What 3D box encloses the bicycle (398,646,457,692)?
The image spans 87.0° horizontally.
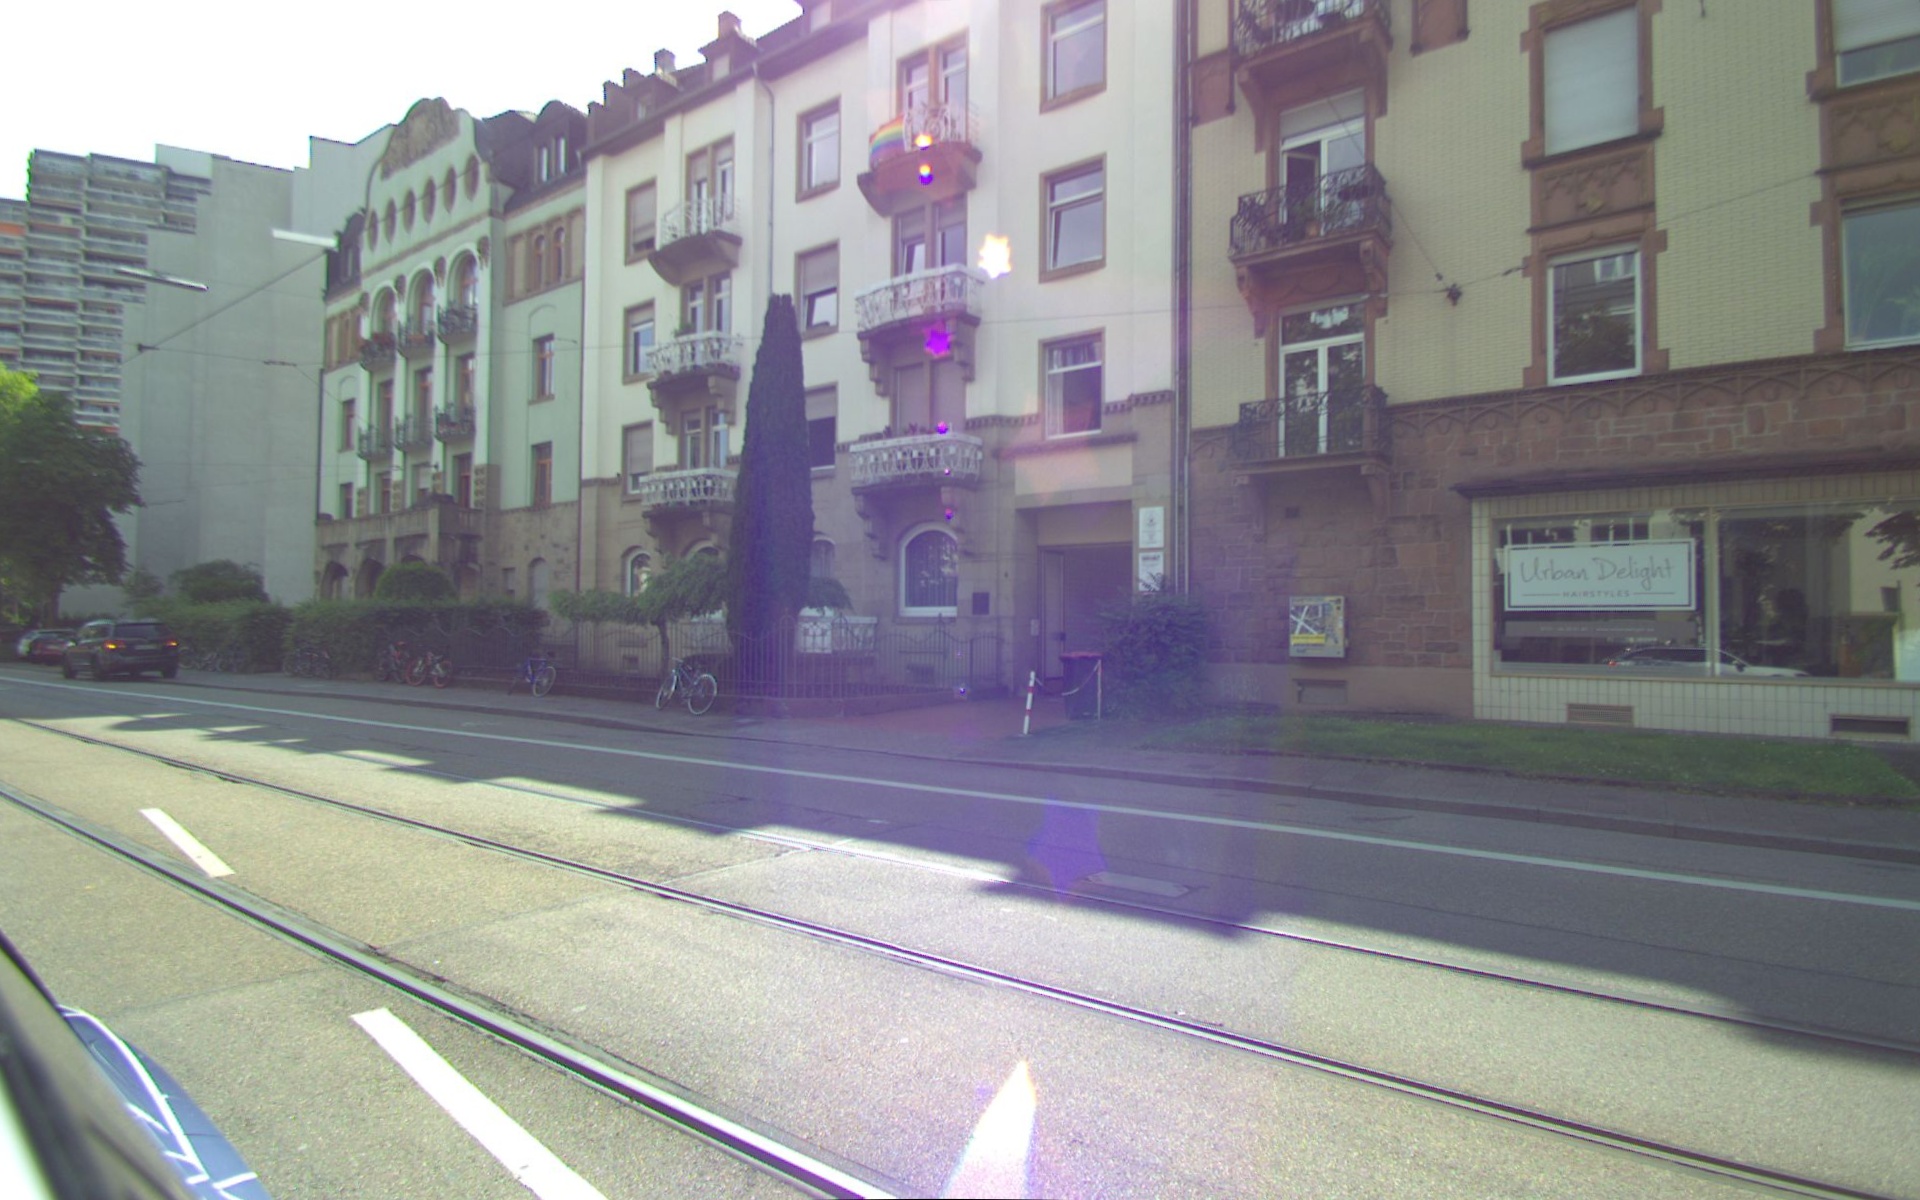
[{"bbox_3d":[-12.488,1.594,23.711,1.872,0.993,0.579,0,-2,42],"label":"bicycle"}]

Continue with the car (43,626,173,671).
[{"bbox_3d":[-33.085,1.856,39.392,1.608,1.652,3.587,-1,-2,37],"label":"car"}]

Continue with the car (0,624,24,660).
[{"bbox_3d":[-51.274,2.183,52.544,1.733,1.857,3.619,-1,-3,37],"label":"car"}]

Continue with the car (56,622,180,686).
[{"bbox_3d":[-24.462,1.529,29.371,4.324,1.724,1.775,-1,-3,37],"label":"car"}]

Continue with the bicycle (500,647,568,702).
[{"bbox_3d":[-8.872,1.525,21.046,1.872,1.037,0.532,0,-2,42],"label":"bicycle"}]

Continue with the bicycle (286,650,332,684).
[{"bbox_3d":[-17.524,1.788,27.230,1.872,0.803,0.579,0,0,42],"label":"bicycle"}]

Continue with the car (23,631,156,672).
[{"bbox_3d":[-35.379,2.074,41.201,1.633,1.548,3.841,-1,-3,39],"label":"car"}]

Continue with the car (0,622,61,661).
[{"bbox_3d":[-48.230,2.074,51.123,1.829,1.940,3.947,-1,-3,39],"label":"car"}]

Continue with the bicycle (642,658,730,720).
[{"bbox_3d":[-4.844,1.535,17.790,2.068,0.913,0.517,1,-1,45],"label":"bicycle"}]
